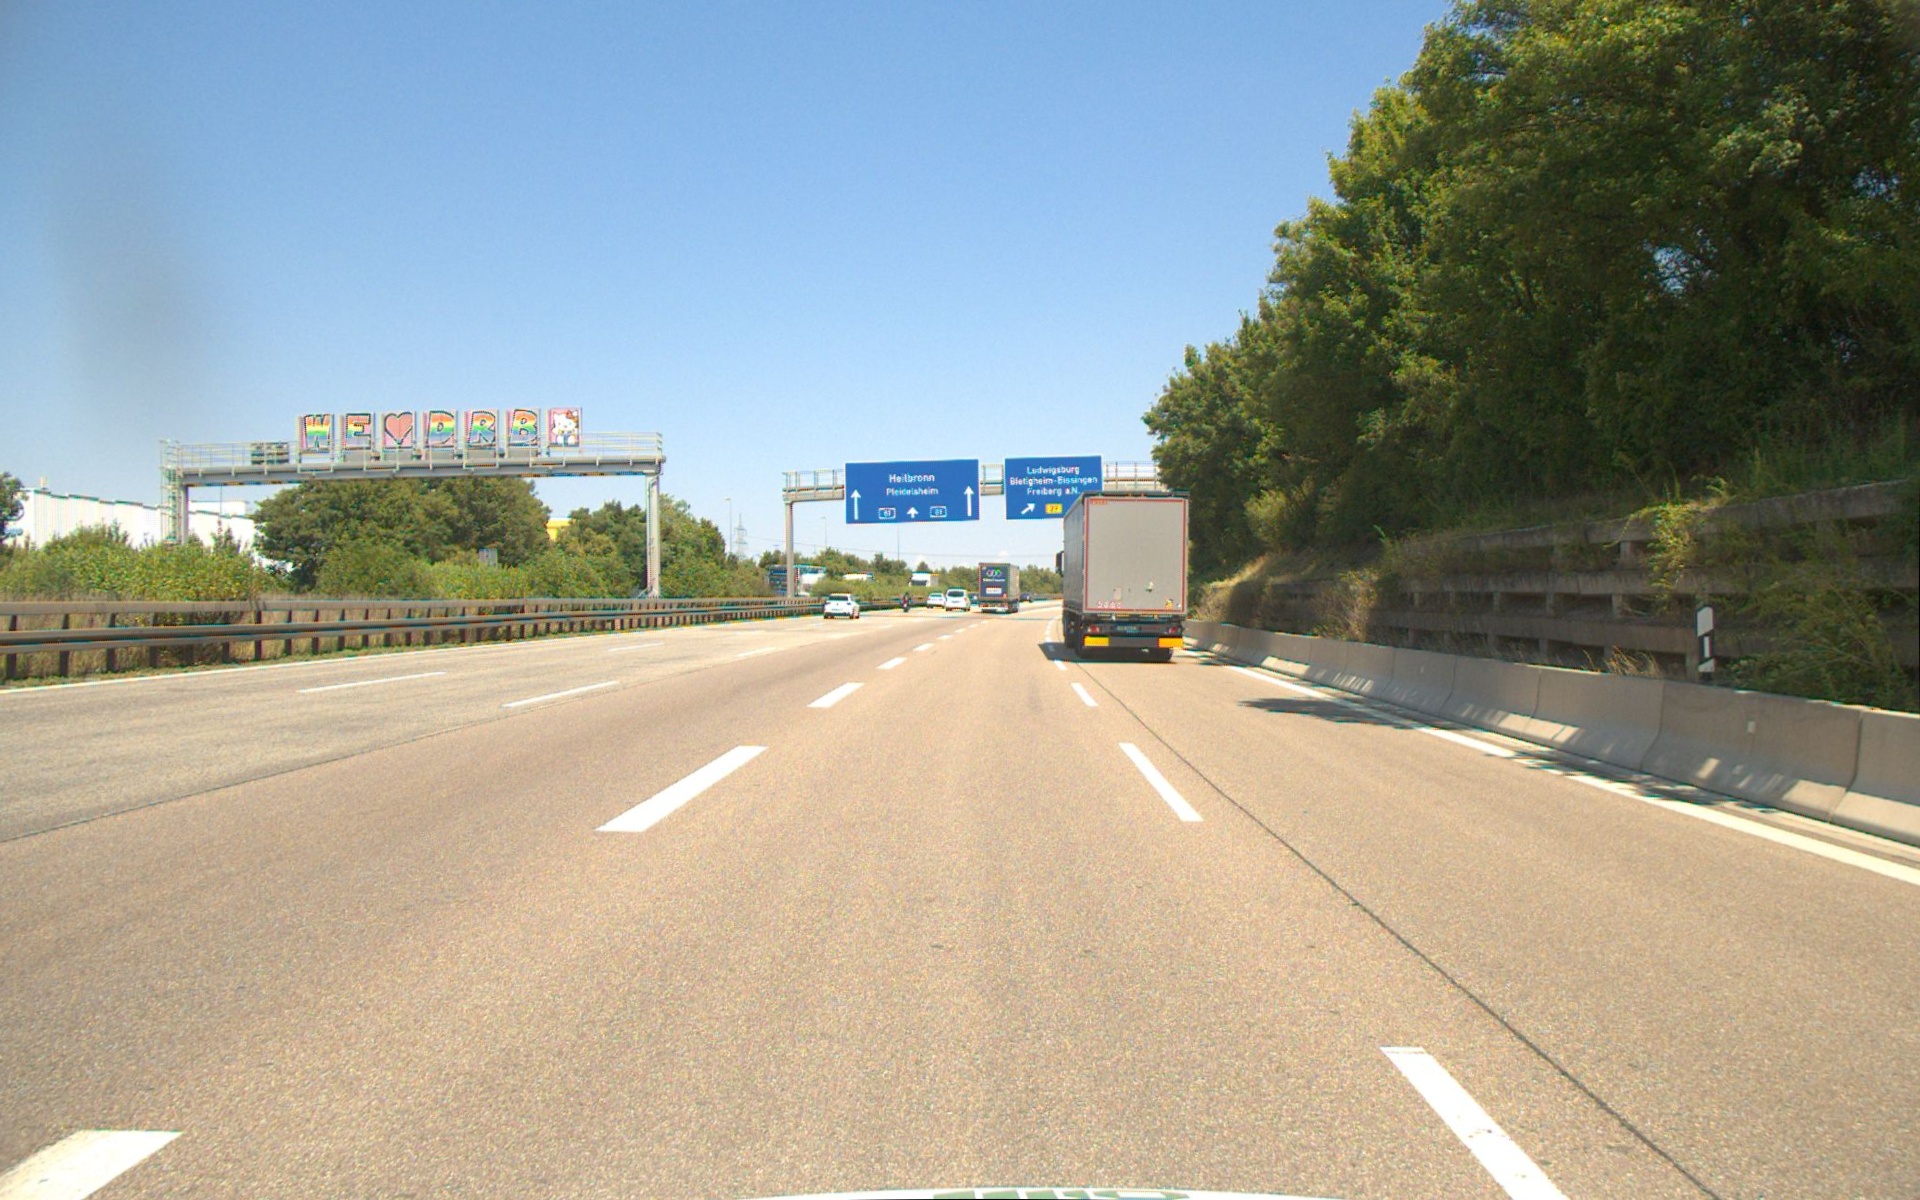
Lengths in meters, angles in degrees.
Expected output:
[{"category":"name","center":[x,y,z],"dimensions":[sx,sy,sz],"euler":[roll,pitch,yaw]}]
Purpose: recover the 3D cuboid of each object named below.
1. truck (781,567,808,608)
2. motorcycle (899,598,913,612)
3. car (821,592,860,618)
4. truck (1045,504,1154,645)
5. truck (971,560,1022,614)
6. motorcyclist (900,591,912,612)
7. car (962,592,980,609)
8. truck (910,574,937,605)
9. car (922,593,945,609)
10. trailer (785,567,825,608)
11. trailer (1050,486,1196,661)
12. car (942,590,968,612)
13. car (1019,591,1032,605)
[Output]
[{"category":"truck","center":[-16.443,-1.273,164.643],"dimensions":[1.952,3.964,4.343],"euler":[1,0,3]},{"category":"motorcycle","center":[-4.290,0.415,131.156],"dimensions":[0.893,1.108,2.850],"euler":[0,-1,3]},{"category":"car","center":[-7.054,0.283,97.742],"dimensions":[1.744,1.466,4.670],"euler":[0,0,3]},{"category":"truck","center":[4.263,-0.804,52.024],"dimensions":[2.868,4.085,7.584],"euler":[0,1,1]},{"category":"truck","center":[3.251,-1.073,141.516],"dimensions":[3.668,4.345,14.503],"euler":[1,0,4]},{"category":"motorcyclist","center":[-4.285,0.150,131.208],"dimensions":[0.874,1.625,1.300],"euler":[0,-1,3]},{"category":"car","center":[1.284,0.074,192.162],"dimensions":[1.837,1.814,5.128],"euler":[0,-1,4]},{"category":"truck","center":[-5.126,-1.531,236.280],"dimensions":[2.695,4.281,10.409],"euler":[1,0,5]},{"category":"car","center":[-2.563,0.141,161.506],"dimensions":[1.837,1.466,5.128],"euler":[0,-1,4]},{"category":"trailer","center":[-16.017,-1.289,171.850],"dimensions":[1.952,3.991,14.008],"euler":[1,0,3]},{"category":"trailer","center":[4.171,-0.724,44.916],"dimensions":[2.868,4.085,12.040],"euler":[0,1,1]},{"category":"car","center":[-0.386,0.123,145.413],"dimensions":[1.890,1.884,4.695],"euler":[-1,0,4]},{"category":"car","center":[10.298,-0.290,258.038],"dimensions":[1.837,2.037,5.128],"euler":[0,-1,4]}]
